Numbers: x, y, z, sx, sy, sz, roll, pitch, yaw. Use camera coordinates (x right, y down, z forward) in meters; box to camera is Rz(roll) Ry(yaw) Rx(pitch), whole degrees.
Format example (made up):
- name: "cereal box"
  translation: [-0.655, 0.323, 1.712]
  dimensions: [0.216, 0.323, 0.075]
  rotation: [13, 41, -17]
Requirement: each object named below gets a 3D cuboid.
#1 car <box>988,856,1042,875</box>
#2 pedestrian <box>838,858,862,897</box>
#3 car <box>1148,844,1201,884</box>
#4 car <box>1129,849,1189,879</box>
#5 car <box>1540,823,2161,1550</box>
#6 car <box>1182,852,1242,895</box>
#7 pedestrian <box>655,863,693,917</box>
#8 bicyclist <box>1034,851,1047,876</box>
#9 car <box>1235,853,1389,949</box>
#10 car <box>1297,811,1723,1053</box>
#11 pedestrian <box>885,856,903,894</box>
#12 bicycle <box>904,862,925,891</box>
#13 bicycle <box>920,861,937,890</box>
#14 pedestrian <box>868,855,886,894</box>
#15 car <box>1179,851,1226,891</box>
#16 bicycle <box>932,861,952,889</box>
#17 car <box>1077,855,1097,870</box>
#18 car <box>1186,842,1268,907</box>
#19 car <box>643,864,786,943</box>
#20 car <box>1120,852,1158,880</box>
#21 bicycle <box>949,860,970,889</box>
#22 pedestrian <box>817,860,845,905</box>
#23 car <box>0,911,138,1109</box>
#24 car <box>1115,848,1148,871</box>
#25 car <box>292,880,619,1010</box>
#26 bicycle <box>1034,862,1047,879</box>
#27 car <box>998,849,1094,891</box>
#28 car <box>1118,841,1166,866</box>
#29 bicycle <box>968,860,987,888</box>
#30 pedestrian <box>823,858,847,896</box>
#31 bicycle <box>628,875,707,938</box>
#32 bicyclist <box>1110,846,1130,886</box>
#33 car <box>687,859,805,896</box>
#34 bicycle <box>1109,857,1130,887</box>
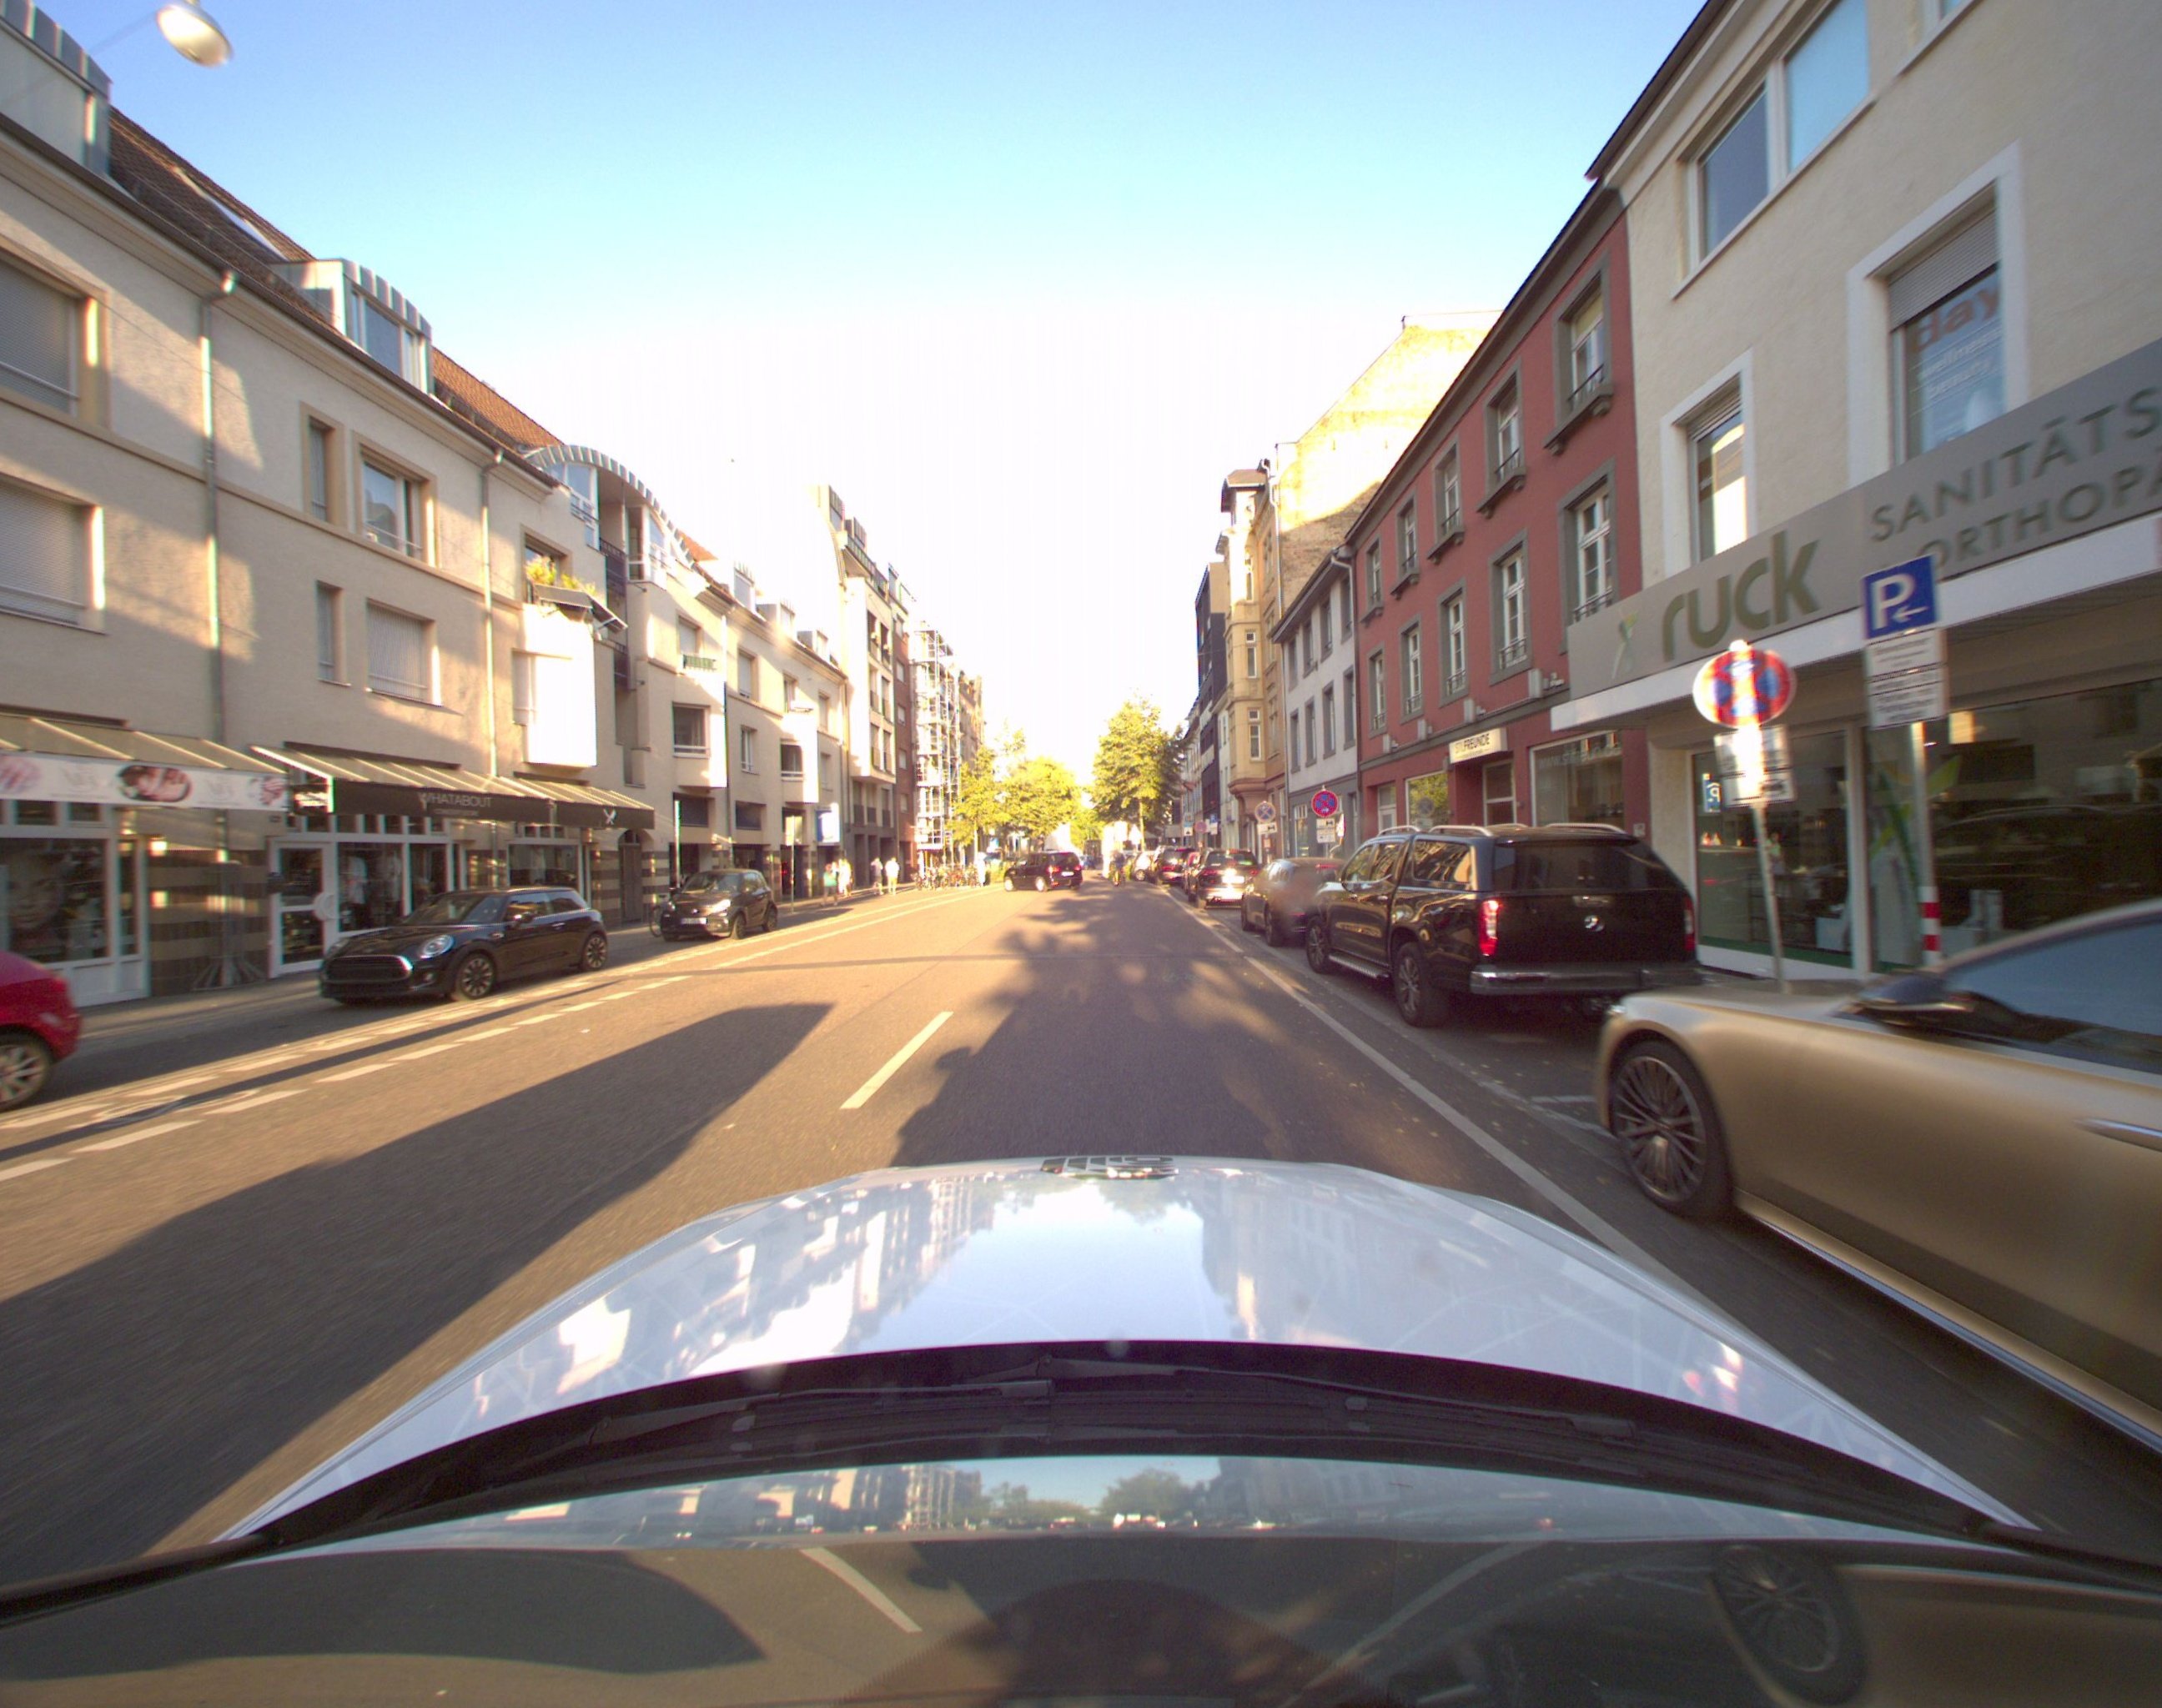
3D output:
- name: "car"
  translation: [-5.303, 0.907, 66.064]
  dimensions: [4.085, 1.466, 1.891]
  rotation: [0, 0, 3]
- name: "pedestrian"
  translation: [-9.891, 0.984, 34.909]
  dimensions: [0.713, 1.641, 0.857]
  rotation: [-1, -1, 6]
- name: "car"
  translation: [4.156, 0.445, 36.823]
  dimensions: [1.819, 1.695, 4.367]
  rotation: [0, 0, -1]
- name: "car"
  translation: [4.067, 0.507, 42.499]
  dimensions: [2.961, 1.536, 1.432]
  rotation: [0, -1, -2]
- name: "car"
  translation: [3.175, 0.693, 1.805]
  dimensions: [1.804, 1.527, 4.999]
  rotation: [0, 0, 4]
- name: "car"
  translation: [4.478, 0.644, 28.254]
  dimensions: [1.660, 1.378, 3.805]
  rotation: [0, 0, 3]
- name: "pedestrian"
  translation: [-12.606, 1.105, 25.224]
  dimensions: [0.713, 1.616, 0.856]
  rotation: [0, -1, 4]
- name: "bicyclist"
  translation: [-3.018, 0.700, 60.678]
  dimensions: [0.778, 1.829, 1.007]
  rotation: [-3, -1, 0]
- name: "car"
  translation: [3.987, 0.739, 14.789]
  dimensions: [1.755, 1.483, 4.310]
  rotation: [0, 0, 3]
- name: "car"
  translation: [3.801, 0.583, 8.486]
  dimensions: [1.876, 1.754, 5.060]
  rotation: [0, 0, 1]
- name: "pedestrian"
  translation: [-8.646, 0.966, 37.680]
  dimensions: [0.716, 1.740, 0.737]
  rotation: [0, -1, -6]
- name: "bicycle"
  translation: [-8.391, 1.117, 41.173]
  dimensions: [0.720, 1.395, 3.146]
  rotation: [0, 0, -6]
- name: "bicycle"
  translation: [-7.720, 1.071, 41.261]
  dimensions: [0.584, 1.395, 3.154]
  rotation: [0, 0, -6]
- name: "pedestrian"
  translation: [-9.352, 0.934, 37.345]
  dimensions: [0.716, 1.767, 0.693]
  rotation: [0, -1, -6]
- name: "car"
  translation: [4.766, 0.646, 32.196]
  dimensions: [1.580, 1.483, 3.270]
  rotation: [0, 0, 4]
- name: "bicycle"
  translation: [-7.025, 1.051, 41.361]
  dimensions: [0.780, 1.373, 3.135]
  rotation: [0, 0, -6]
- name: "car"
  translation: [0.623, 0.832, 81.066]
  dimensions: [1.830, 1.441, 4.335]
  rotation: [0, 0, 3]
- name: "car"
  translation: [4.085, 0.549, 23.364]
  dimensions: [1.804, 1.668, 4.209]
  rotation: [0, 0, 3]
- name: "car"
  translation: [-8.213, 1.054, 18.558]
  dimensions: [1.786, 1.535, 3.188]
  rotation: [-2, 0, -1]
- name: "car"
  translation: [3.617, 0.765, 51.403]
  dimensions: [1.987, 1.668, 4.507]
  rotation: [0, 0, -1]
- name: "bicycle"
  translation: [-6.174, 1.029, 41.475]
  dimensions: [0.892, 1.395, 3.159]
  rotation: [-1, 0, -6]
- name: "pedestrian"
  translation: [-9.207, 1.029, 30.013]
  dimensions: [0.714, 1.641, 0.951]
  rotation: [0, -1, -1]
- name: "car"
  translation: [-8.812, 1.175, 4.906]
  dimensions: [1.654, 1.402, 3.885]
  rotation: [0, 0, 2]
- name: "car"
  translation: [3.962, 0.468, 64.680]
  dimensions: [2.258, 1.766, 4.507]
  rotation: [0, 0, -1]
- name: "car"
  translation: [-8.621, 1.161, 11.710]
  dimensions: [1.704, 1.454, 3.727]
  rotation: [0, 0, 2]
- name: "bicycle"
  translation: [-3.027, 1.216, 60.641]
  dimensions: [0.778, 1.204, 2.020]
  rotation: [-3, 0, 0]
- name: "car"
  translation: [-1.553, 0.711, 33.903]
  dimensions: [2.007, 1.602, 4.462]
  rotation: [0, -2, -33]
- name: "car"
  translation: [5.257, -0.059, 70.005]
  dimensions: [3.966, 2.013, 2.004]
  rotation: [-2, 0, 6]
- name: "bicycle"
  translation: [-5.283, 0.979, 41.585]
  dimensions: [0.843, 1.350, 3.180]
  rotation: [-2, 0, -6]
- name: "pedestrian"
  translation: [-10.591, 0.983, 35.056]
  dimensions: [0.713, 1.641, 0.857]
  rotation: [-1, -1, 7]
- name: "bicycle"
  translation: [-9.856, 1.219, 19.527]
  dimensions: [0.608, 1.375, 2.359]
  rotation: [0, 0, 2]
- name: "bicyclist"
  translation: [1.675, 0.518, 35.232]
  dimensions: [0.778, 1.696, 1.007]
  rotation: [-3, -1, 0]
- name: "car"
  translation: [-15.172, 1.059, 37.024]
  dimensions: [4.473, 1.601, 2.003]
  rotation: [0, -1, 5]
- name: "bicycle"
  translation: [1.656, 0.758, 35.346]
  dimensions: [0.778, 1.204, 2.020]
  rotation: [-3, 0, 0]
